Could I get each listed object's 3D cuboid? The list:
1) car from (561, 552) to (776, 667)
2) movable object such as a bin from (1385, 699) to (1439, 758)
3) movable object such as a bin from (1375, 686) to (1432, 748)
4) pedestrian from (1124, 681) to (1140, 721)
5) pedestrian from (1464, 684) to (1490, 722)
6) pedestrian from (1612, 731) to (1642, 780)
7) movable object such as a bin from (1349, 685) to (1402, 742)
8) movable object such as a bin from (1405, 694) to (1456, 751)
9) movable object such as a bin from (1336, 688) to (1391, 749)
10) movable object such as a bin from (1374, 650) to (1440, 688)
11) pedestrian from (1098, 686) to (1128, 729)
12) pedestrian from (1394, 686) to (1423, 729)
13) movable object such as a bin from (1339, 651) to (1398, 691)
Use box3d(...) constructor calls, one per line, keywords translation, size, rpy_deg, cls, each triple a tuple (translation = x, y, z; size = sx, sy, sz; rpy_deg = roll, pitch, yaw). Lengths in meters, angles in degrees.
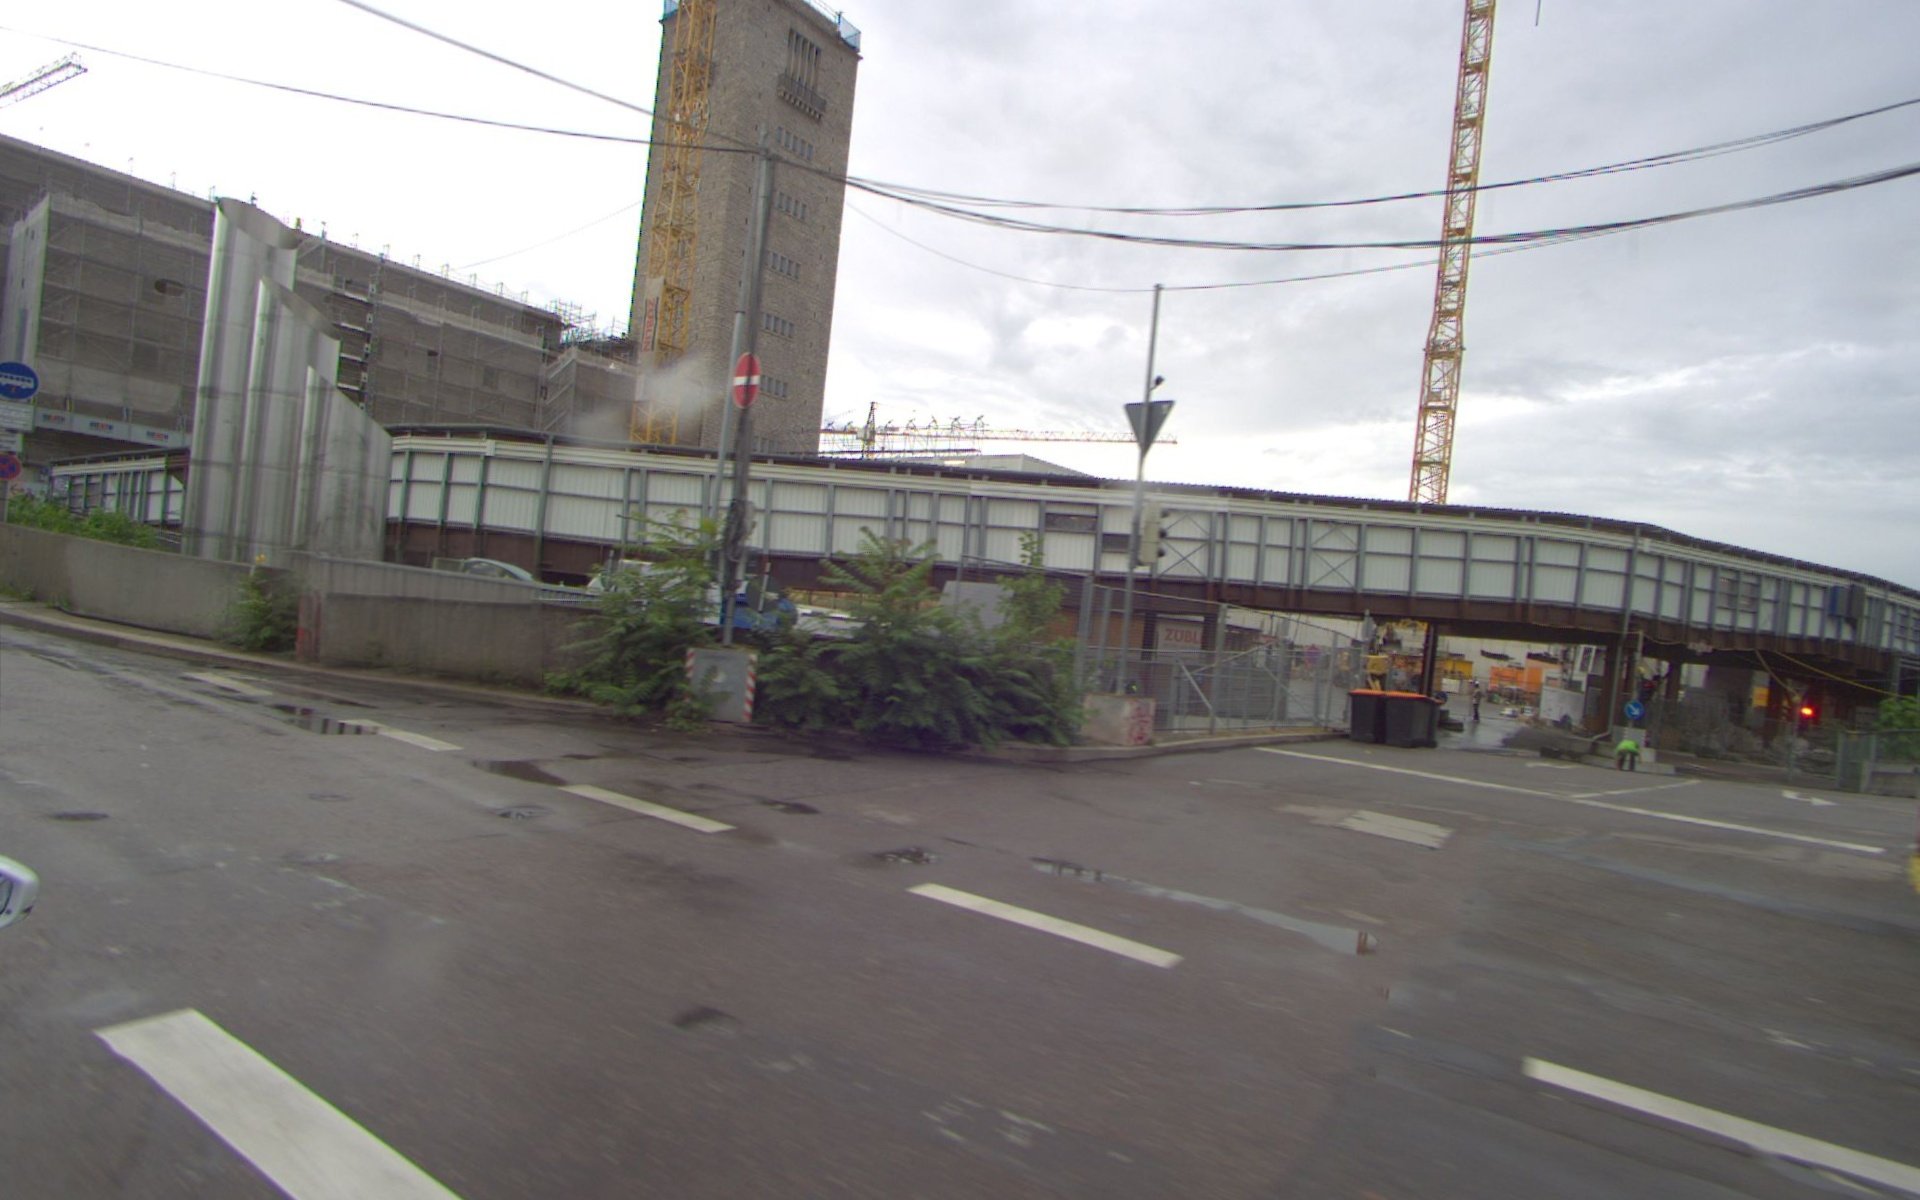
box3d(translation=(-7.248, 0.256, 25.609), size=(4.797, 2.157, 2.351), rpy_deg=(8, -1, -10), cls="car")
box3d(translation=(9.459, 2.670, 21.048), size=(0.720, 1.116, 0.988), rpy_deg=(4, 0, 41), cls="movable object such as a bin")
box3d(translation=(8.873, 2.323, 20.130), size=(0.737, 1.116, 0.988), rpy_deg=(4, 0, 41), cls="movable object such as a bin")
box3d(translation=(5.967, 3.495, 34.919), size=(0.333, 1.355, 0.401), rpy_deg=(3, 1, -11), cls="pedestrian")
box3d(translation=(25.970, 5.173, 50.555), size=(1.012, 1.789, 0.751), rpy_deg=(3, 1, 23), cls="pedestrian")
box3d(translation=(20.285, 4.714, 30.608), size=(0.547, 1.355, 0.617), rpy_deg=(3, 1, 21), cls="pedestrian")
box3d(translation=(8.908, 2.410, 21.541), size=(0.720, 1.116, 0.988), rpy_deg=(4, 0, 41), cls="movable object such as a bin")
box3d(translation=(10.210, 2.647, 21.831), size=(0.720, 1.116, 0.988), rpy_deg=(4, 0, 41), cls="movable object such as a bin")
box3d(translation=(8.291, 2.414, 20.647), size=(0.720, 1.116, 0.988), rpy_deg=(4, 0, 41), cls="movable object such as a bin")
box3d(translation=(32.206, 4.948, 72.439), size=(3.748, 2.373, 2.932), rpy_deg=(3, 0, 35), cls="movable object such as a bin")
box3d(translation=(5.260, 3.687, 34.576), size=(0.773, 1.355, 0.691), rpy_deg=(3, 0, -11), cls="pedestrian")
box3d(translation=(19.135, 4.578, 42.935), size=(0.831, 1.706, 0.751), rpy_deg=(3, 0, -1), cls="pedestrian")
box3d(translation=(27.810, 4.787, 68.623), size=(3.225, 2.373, 4.000), rpy_deg=(3, 0, 17), cls="movable object such as a bin")
